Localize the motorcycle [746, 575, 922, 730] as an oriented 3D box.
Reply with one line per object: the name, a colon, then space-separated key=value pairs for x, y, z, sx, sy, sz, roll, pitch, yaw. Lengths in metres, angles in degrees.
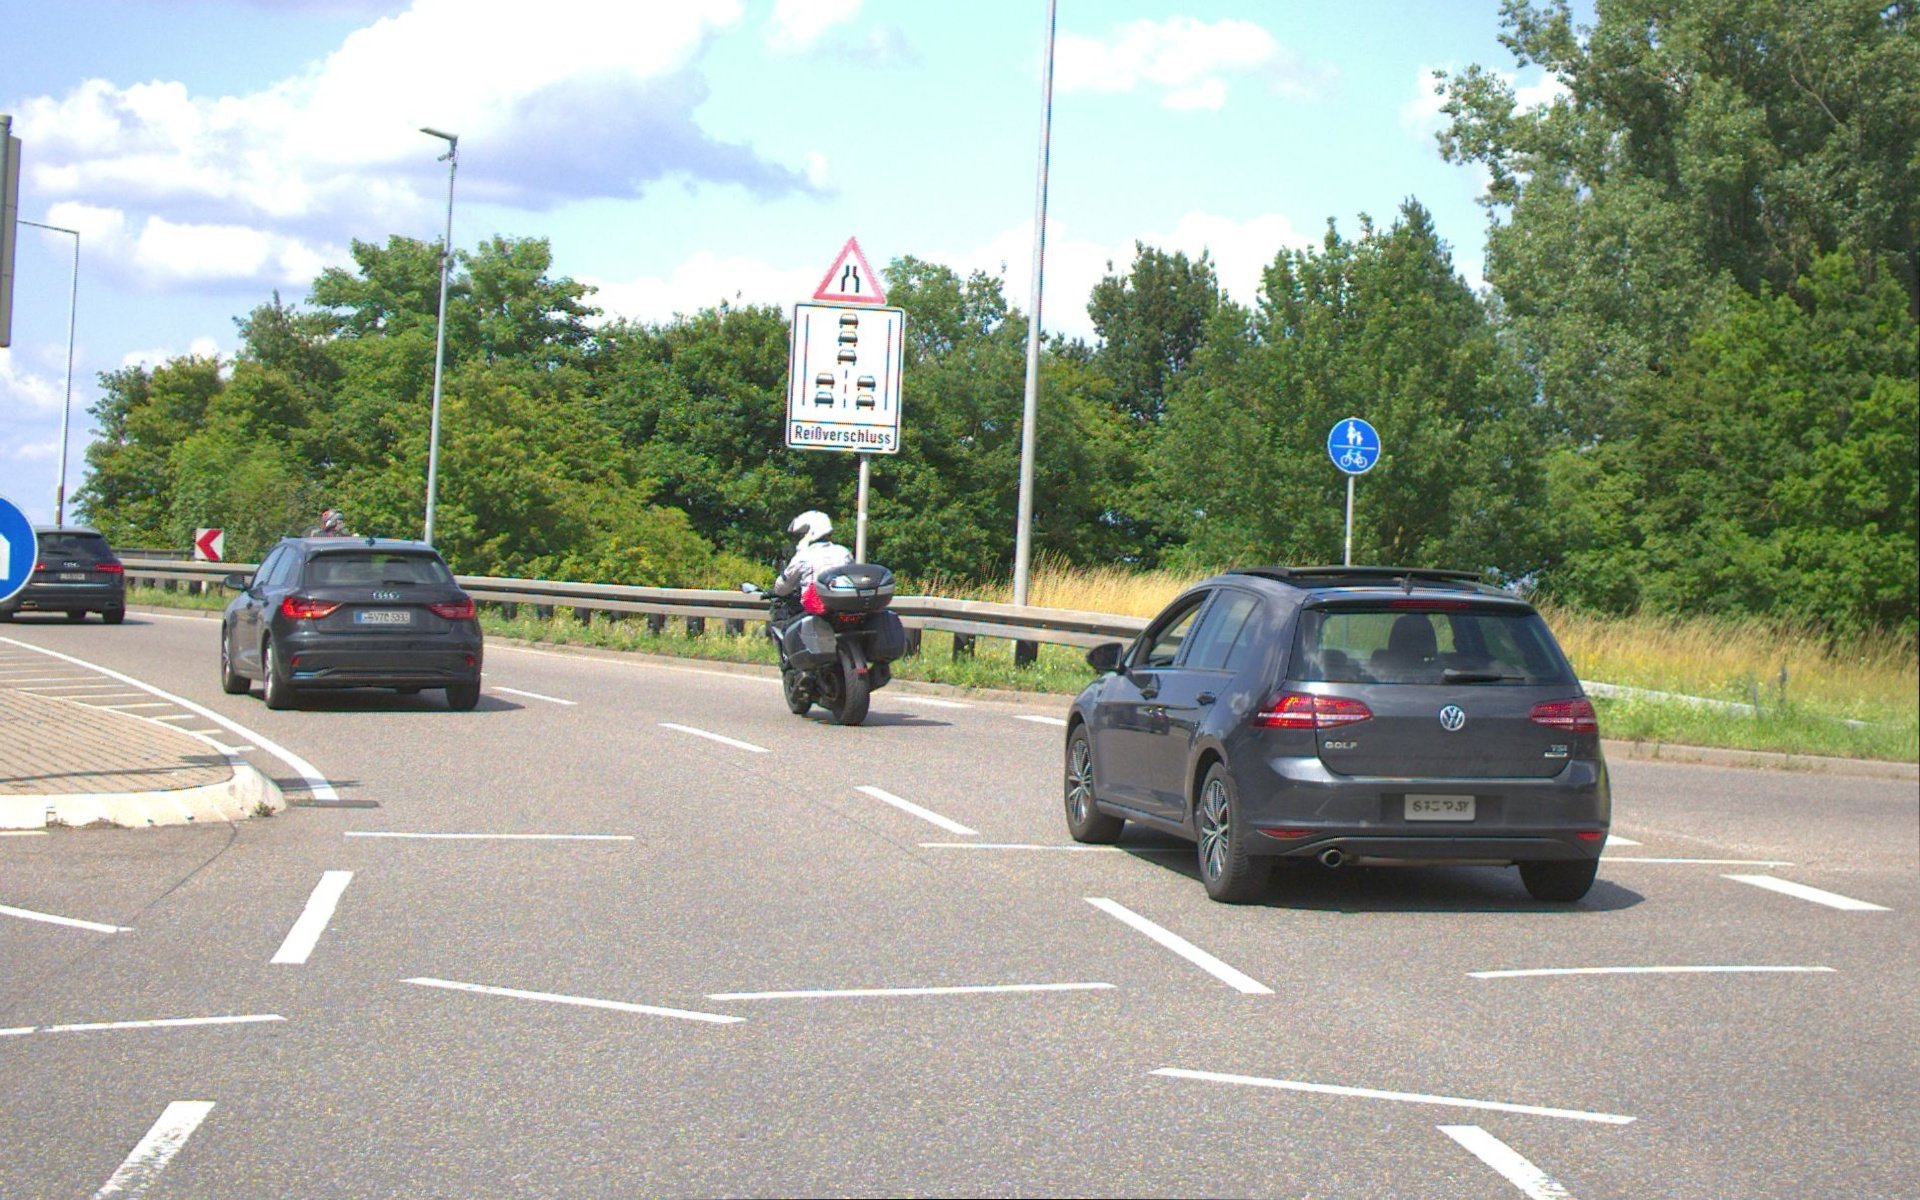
motorcycle: x=-1.022 y=0.390 z=27.116 sx=0.789 sy=1.128 sz=2.400 roll=2 pitch=0 yaw=-16

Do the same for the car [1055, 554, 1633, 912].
car: x=1.681 y=0.553 z=16.373 sx=1.642 sy=1.474 sz=3.873 roll=2 pitch=0 yaw=-11

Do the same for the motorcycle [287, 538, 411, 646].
motorcycle: x=-7.484 y=-0.109 z=42.004 sx=0.887 sy=1.243 sz=2.400 roll=2 pitch=0 yaw=-25

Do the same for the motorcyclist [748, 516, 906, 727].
motorcyclist: x=-1.066 y=0.164 z=27.366 sx=0.965 sy=1.615 sz=1.125 roll=2 pitch=0 yaw=-16

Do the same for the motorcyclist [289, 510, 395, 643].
motorcyclist: x=-7.600 y=-0.291 z=42.256 sx=0.965 sy=1.590 sz=1.125 roll=2 pitch=0 yaw=-25

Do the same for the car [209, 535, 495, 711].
car: x=-5.199 y=0.186 z=29.061 sx=1.681 sy=1.383 sz=3.740 roll=1 pitch=0 yaw=-21

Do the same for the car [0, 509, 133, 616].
car: x=-13.458 y=-0.554 z=50.823 sx=1.642 sy=1.474 sz=3.873 roll=2 pitch=0 yaw=-25
